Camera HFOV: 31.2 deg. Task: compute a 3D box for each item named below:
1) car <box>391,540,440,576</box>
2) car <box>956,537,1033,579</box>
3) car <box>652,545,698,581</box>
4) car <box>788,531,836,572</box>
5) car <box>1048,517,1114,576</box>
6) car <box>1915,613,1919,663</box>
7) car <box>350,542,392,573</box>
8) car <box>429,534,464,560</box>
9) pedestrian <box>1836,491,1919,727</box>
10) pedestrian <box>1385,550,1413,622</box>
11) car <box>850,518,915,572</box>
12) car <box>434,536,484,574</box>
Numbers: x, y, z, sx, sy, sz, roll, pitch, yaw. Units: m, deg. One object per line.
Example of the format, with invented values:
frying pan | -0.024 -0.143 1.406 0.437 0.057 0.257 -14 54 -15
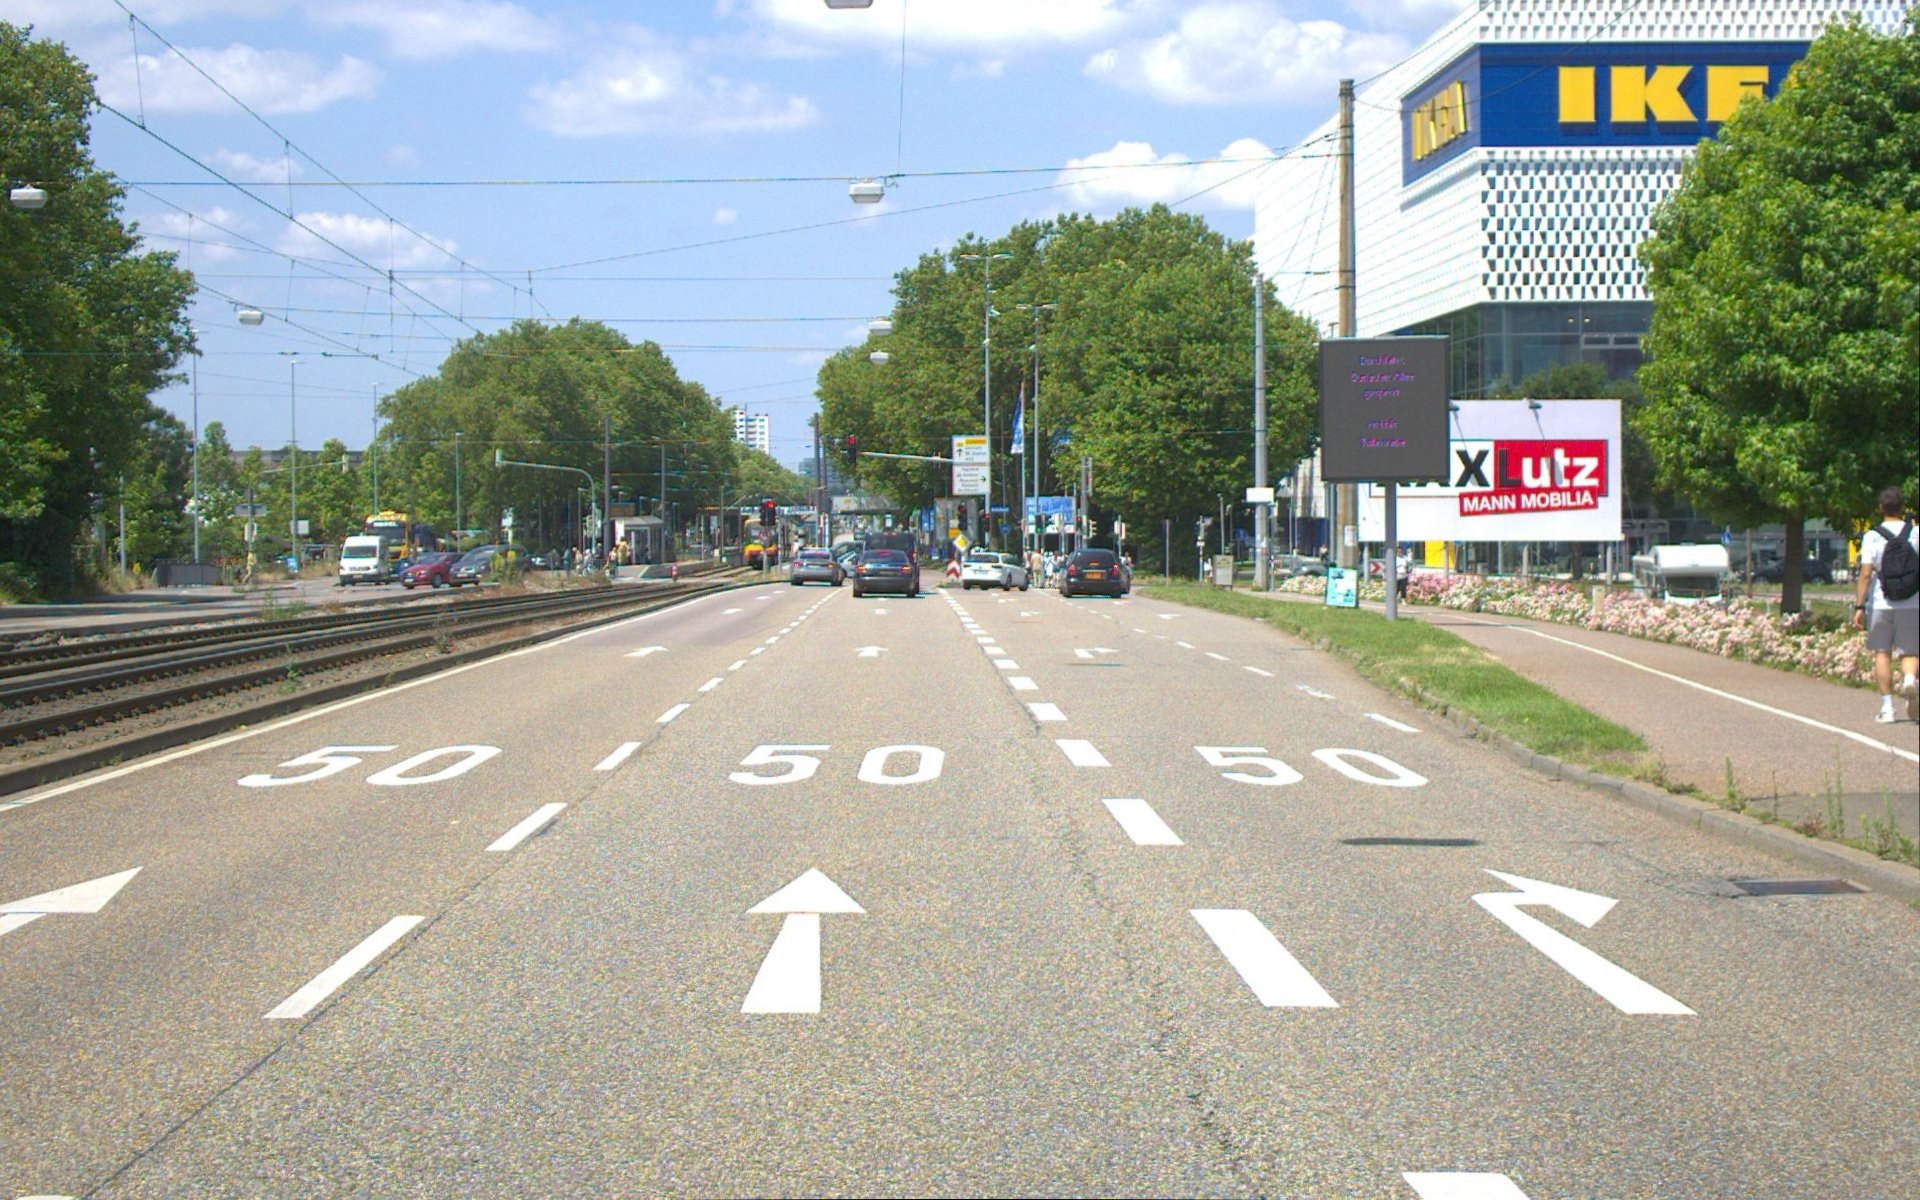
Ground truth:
car | -24.373 -1.901 153.899 1.623 1.544 3.984 1 1 -1
car | 1.358 -1.634 133.524 1.687 1.544 3.979 2 1 21
car | -12.643 -1.655 152.568 1.842 1.544 3.777 1 1 -3
car | -5.844 -1.912 135.392 1.842 1.544 3.777 1 1 -3
car | 3.838 -1.717 109.581 1.899 1.799 3.977 1 1 -1
car | 29.770 1.204 102.031 1.571 1.477 3.889 1 1 -3
car | -30.489 -2.216 178.086 1.623 1.544 3.704 1 1 -1
car | -30.705 -3.183 205.694 1.623 1.544 3.704 1 1 -1
pedestrian | 7.234 0.064 26.568 0.669 1.786 0.924 1 1 1
pedestrian | 10.991 -0.360 86.116 0.580 1.786 0.590 1 1 -3
car | -2.330 -1.649 102.393 1.876 1.534 3.777 1 1 -2
car | -21.337 -1.910 146.599 1.623 1.544 3.984 1 1 -1
